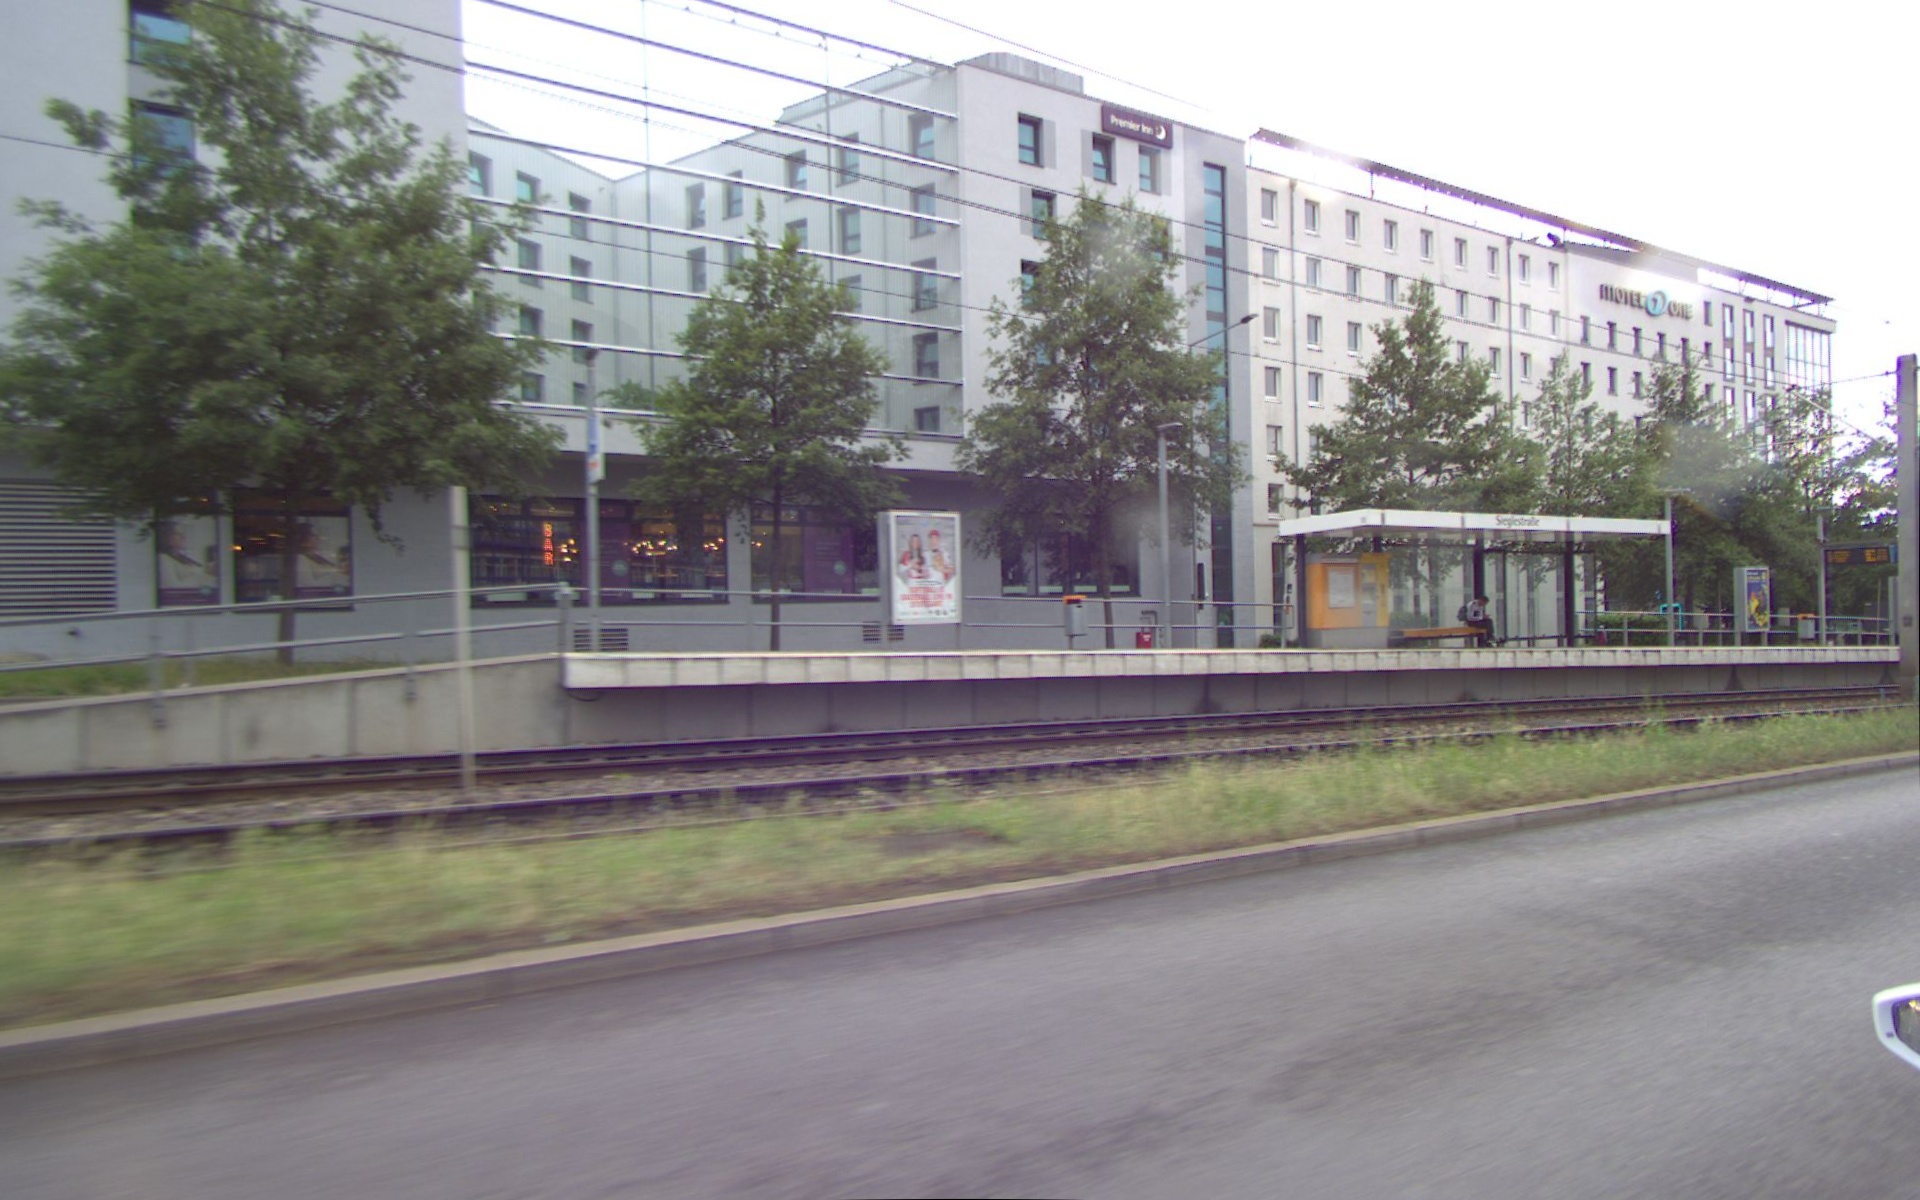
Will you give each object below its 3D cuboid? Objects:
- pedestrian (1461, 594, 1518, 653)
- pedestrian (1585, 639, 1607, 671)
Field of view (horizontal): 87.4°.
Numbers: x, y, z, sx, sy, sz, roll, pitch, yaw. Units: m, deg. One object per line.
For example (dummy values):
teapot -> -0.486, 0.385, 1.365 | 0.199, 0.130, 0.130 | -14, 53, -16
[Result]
pedestrian -> 12.282, 0.547, 23.321 | 0.676, 1.317, 0.957 | 1, -1, -29
pedestrian -> 33.035, 2.844, 52.183 | 0.825, 1.599, 0.598 | 2, 0, -28
